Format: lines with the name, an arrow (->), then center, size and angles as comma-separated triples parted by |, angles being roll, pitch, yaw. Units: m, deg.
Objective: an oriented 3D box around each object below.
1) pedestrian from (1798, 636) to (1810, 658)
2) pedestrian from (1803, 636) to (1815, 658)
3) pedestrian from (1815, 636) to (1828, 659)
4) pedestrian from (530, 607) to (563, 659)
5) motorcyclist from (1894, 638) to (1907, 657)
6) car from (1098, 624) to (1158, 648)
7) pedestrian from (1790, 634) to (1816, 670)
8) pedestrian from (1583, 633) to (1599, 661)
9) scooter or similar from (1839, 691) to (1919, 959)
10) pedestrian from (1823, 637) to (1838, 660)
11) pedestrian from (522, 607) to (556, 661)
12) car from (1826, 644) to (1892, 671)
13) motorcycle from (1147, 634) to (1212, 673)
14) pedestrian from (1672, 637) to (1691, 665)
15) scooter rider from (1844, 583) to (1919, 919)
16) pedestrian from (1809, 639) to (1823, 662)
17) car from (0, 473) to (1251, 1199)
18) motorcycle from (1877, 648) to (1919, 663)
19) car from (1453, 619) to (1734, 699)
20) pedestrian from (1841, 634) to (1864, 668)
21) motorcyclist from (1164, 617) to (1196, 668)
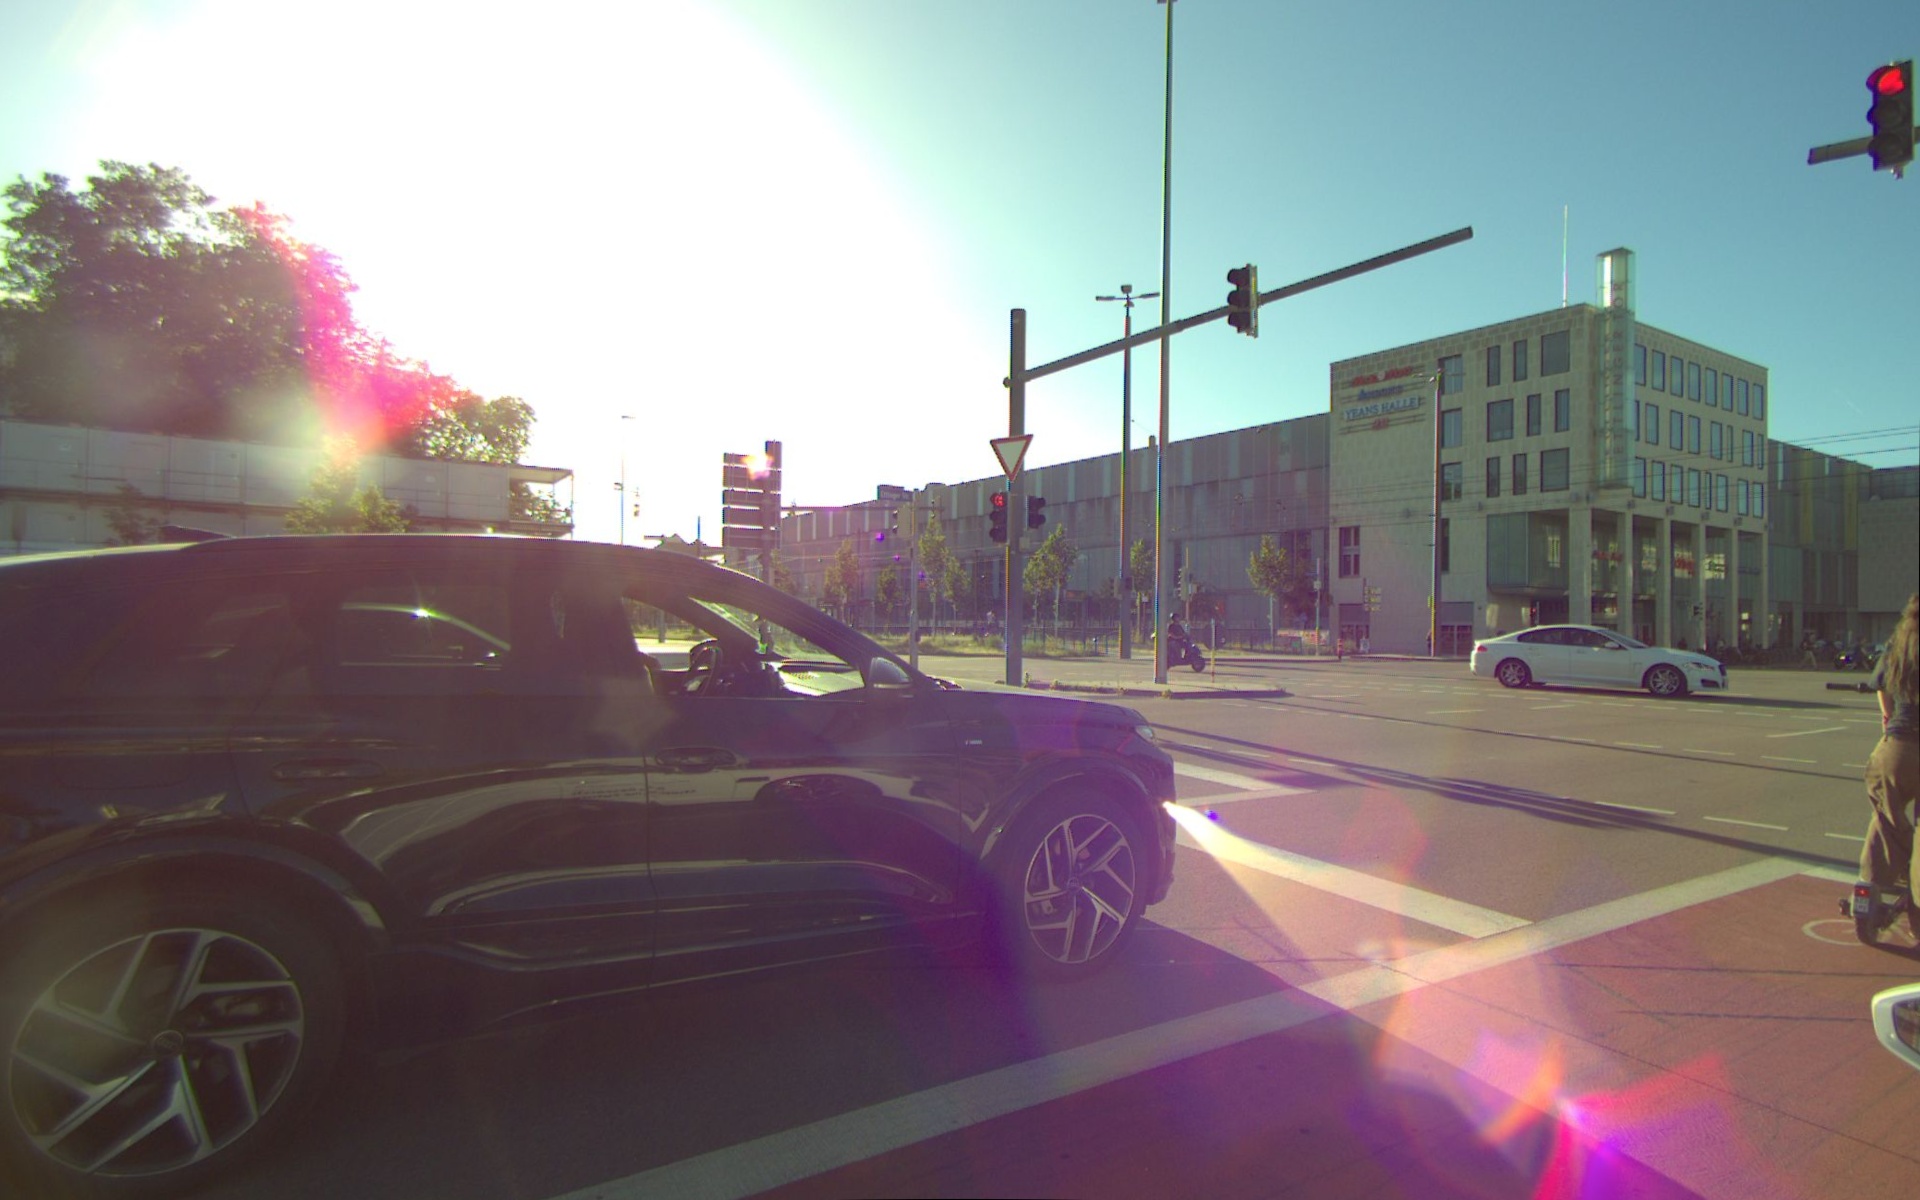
pedestrian -> 66.993, 3.747, 79.765 | 0.510, 1.752, 0.472 | 2, 0, 9
pedestrian -> 68.079, 3.783, 80.533 | 0.510, 1.752, 0.472 | 2, 0, 9
pedestrian -> 68.532, 3.794, 79.906 | 0.616, 1.752, 0.471 | 2, 0, -1
pedestrian -> -13.233, 1.058, 32.160 | 0.736, 1.632, 0.716 | 2, 0, -5
motorcyclist -> 70.773, 3.586, 75.596 | 0.657, 1.424, 0.623 | 2, 0, -38
car -> 12.664, 2.687, 75.854 | 1.805, 1.706, 4.820 | 1, -2, -31
pedestrian -> 44.821, 2.739, 53.413 | 0.529, 1.889, 0.943 | 1, -1, -13
pedestrian -> 37.193, 2.761, 59.205 | 0.622, 1.667, 0.589 | 1, -1, -30
scooter or similar -> 4.423, 1.013, 4.743 | 0.832, 1.122, 0.303 | 2, -1, -42
pedestrian -> 67.336, 3.746, 77.688 | 0.681, 1.752, 0.472 | 2, 0, 9
pedestrian -> -13.148, 1.057, 31.387 | 0.736, 1.632, 0.716 | 2, 0, -5
car -> 49.704, 3.155, 55.533 | 3.975, 1.375, 1.668 | 1, -1, -31
motorcycle -> 6.528, 1.577, 29.940 | 0.643, 1.115, 1.940 | 1, -1, -37
pedestrian -> 44.118, 3.099, 61.426 | 0.614, 1.660, 0.778 | 1, -1, -9
scooter rider -> 4.614, 0.702, 4.770 | 0.445, 1.550, 0.548 | 1, -1, -38
pedestrian -> 66.375, 3.880, 77.909 | 0.615, 1.752, 0.472 | 2, 0, 4
car -> -1.251, 0.615, 4.062 | 4.613, 1.729, 2.153 | 1, 0, -32
motorcycle -> 70.698, 4.151, 75.458 | 1.106, 1.006, 2.582 | 2, 0, -38
car -> 14.063, 1.228, 22.537 | 1.986, 1.585, 5.034 | 2, -2, -43
pedestrian -> 44.889, 2.561, 50.525 | 0.612, 1.710, 0.697 | 1, -1, -29
motorcyclist -> 6.557, 1.256, 29.969 | 0.594, 1.499, 0.744 | 1, -1, -37
